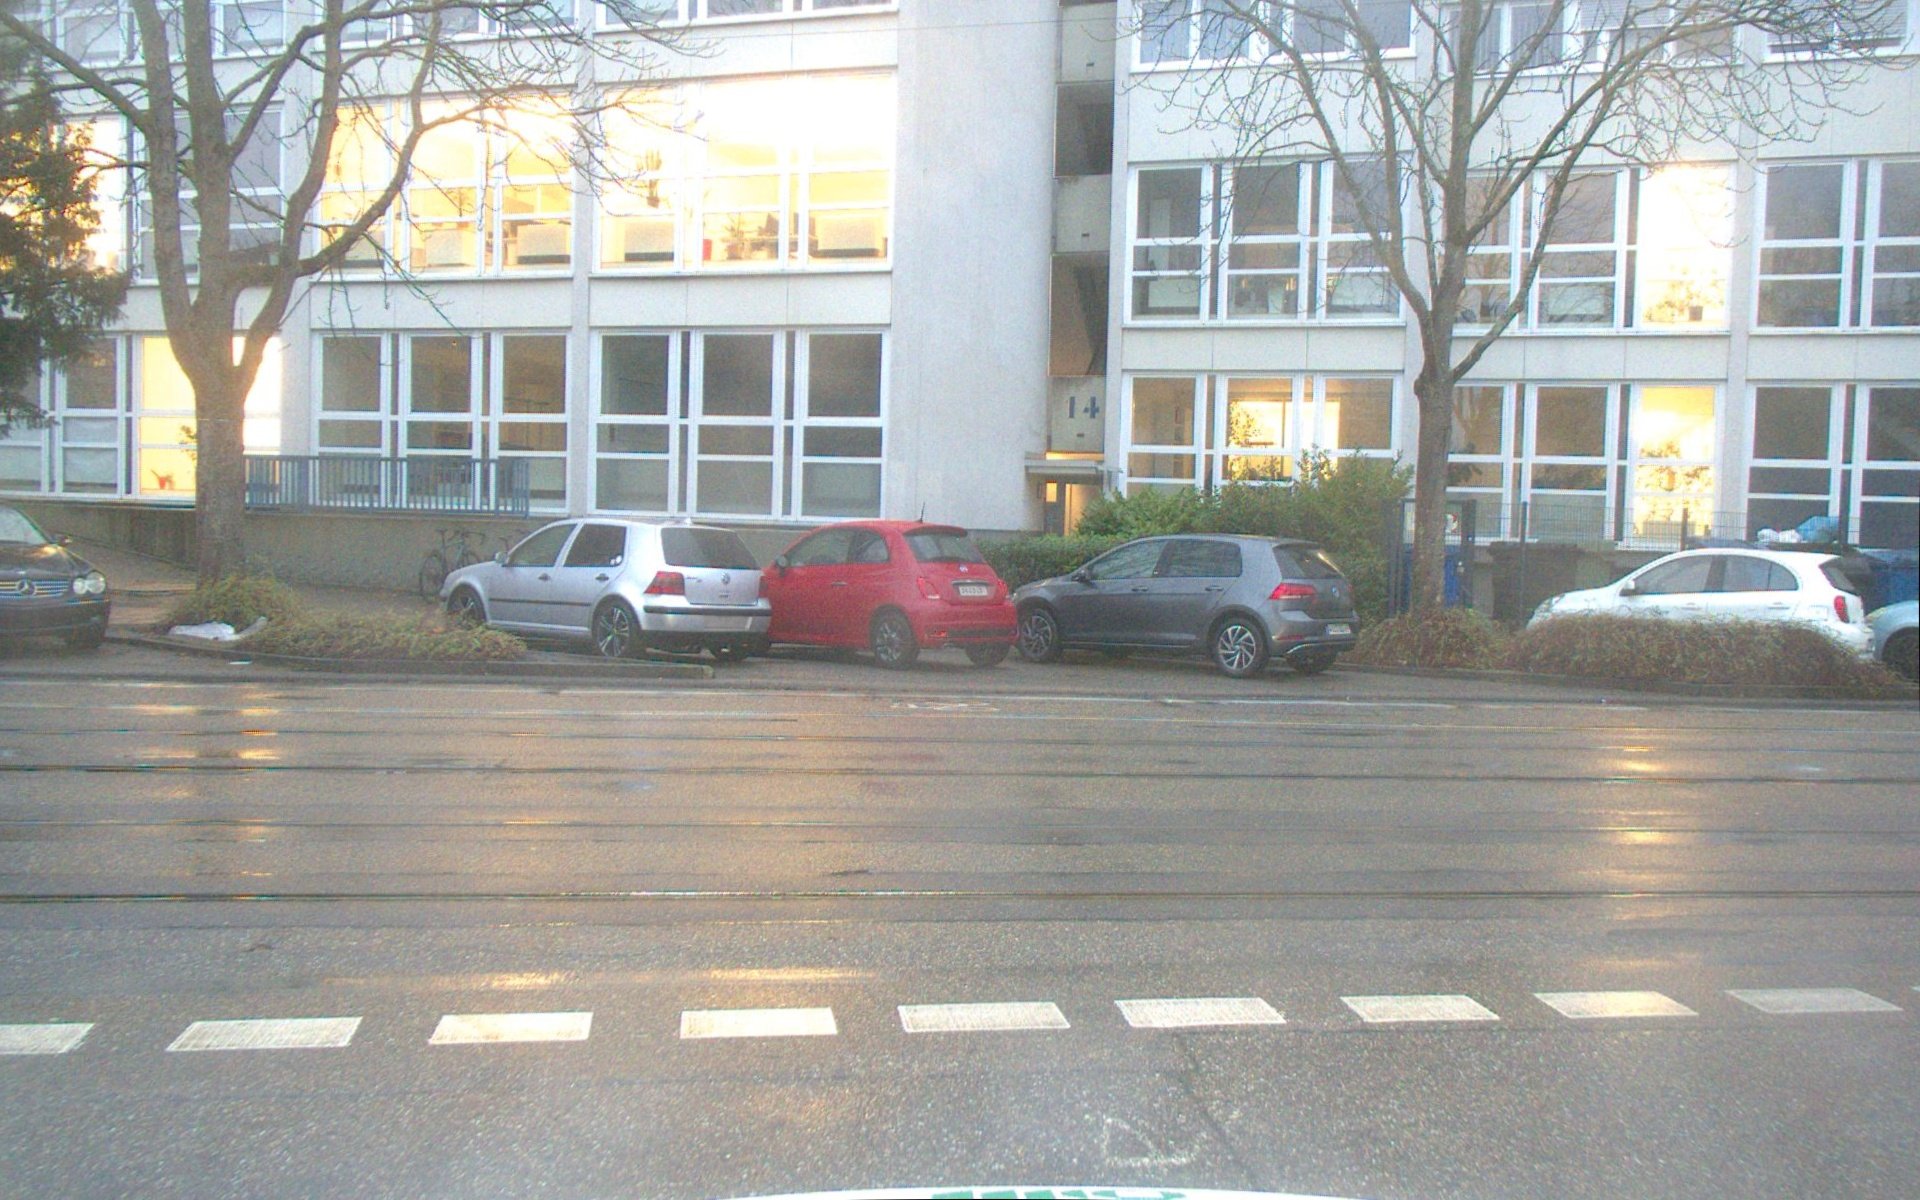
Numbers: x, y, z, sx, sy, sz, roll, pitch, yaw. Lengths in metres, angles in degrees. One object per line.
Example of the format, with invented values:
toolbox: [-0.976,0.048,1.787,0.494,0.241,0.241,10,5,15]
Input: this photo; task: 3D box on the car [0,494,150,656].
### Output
car: [-9.560,-0.293,15.861,3.927,1.402,1.846,3,3,41]

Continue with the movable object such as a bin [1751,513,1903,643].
movable object such as a bin: [13.006,-0.356,24.869,1.362,1.892,1.573,0,2,-7]

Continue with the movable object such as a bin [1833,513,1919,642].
movable object such as a bin: [14.319,-0.368,25.030,1.288,1.892,1.573,0,2,-7]

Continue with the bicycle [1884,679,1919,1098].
bicycle: [3.593,0.801,4.327,1.983,1.115,0.709,1,2,-5]

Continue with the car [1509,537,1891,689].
car: [8.648,0.072,19.461,3.802,1.578,1.686,3,3,38]

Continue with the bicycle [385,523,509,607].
bicycle: [-7.317,-0.514,23.719,0.626,1.140,2.208,1,2,15]

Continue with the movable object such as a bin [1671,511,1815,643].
movable object such as a bin: [11.651,-0.367,24.678,1.288,1.892,1.573,0,2,-7]

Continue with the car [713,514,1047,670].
car: [-0.918,-0.154,17.958,3.388,1.518,1.720,3,3,41]

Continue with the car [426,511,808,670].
car: [-3.642,-0.172,17.309,3.921,1.471,1.786,2,3,37]

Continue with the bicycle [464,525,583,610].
bicycle: [-6.144,-0.485,23.429,0.626,1.140,2.208,1,2,15]

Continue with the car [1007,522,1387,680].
car: [2.520,-0.064,18.036,3.781,1.518,1.688,3,3,39]

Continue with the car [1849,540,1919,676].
car: [12.770,0.130,19.305,3.927,1.590,1.727,3,3,41]
